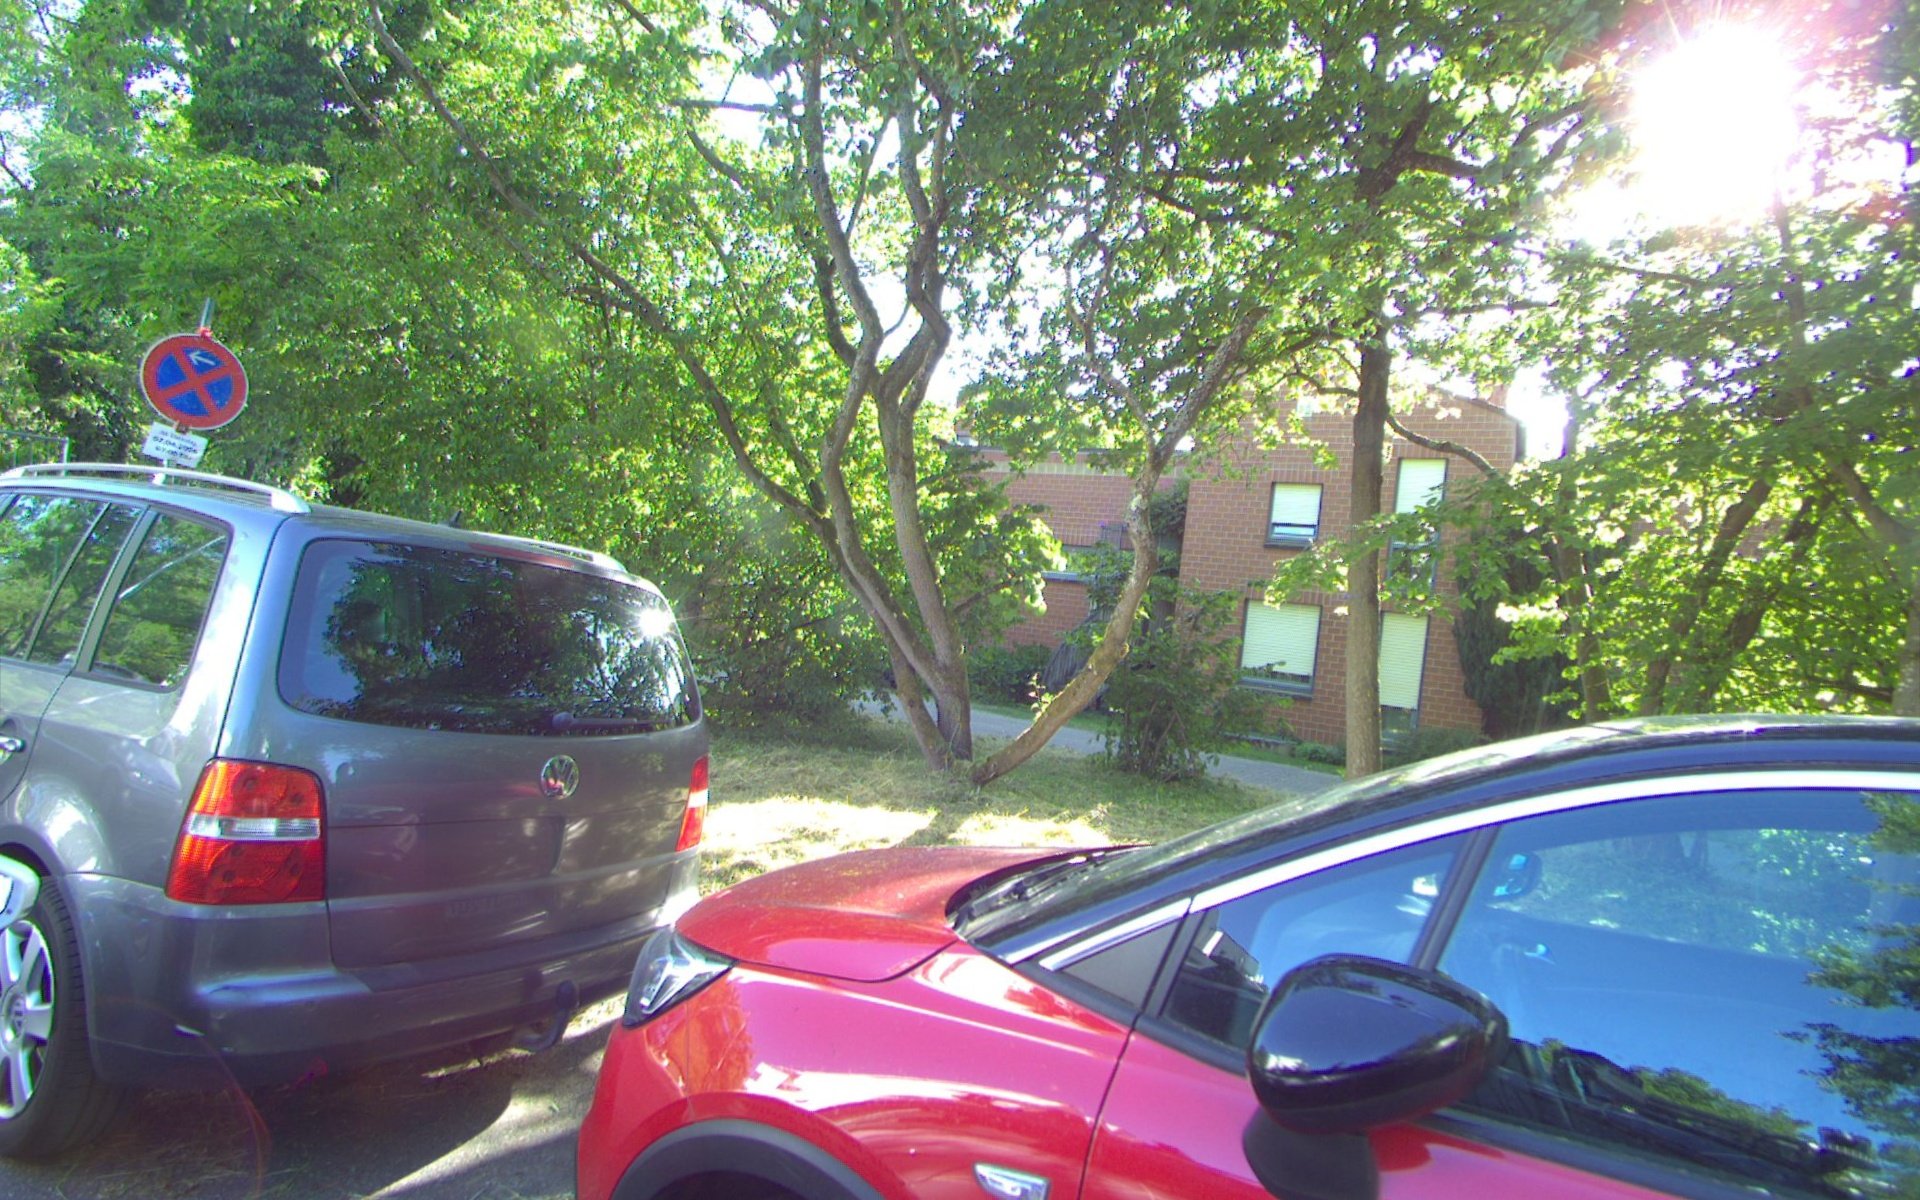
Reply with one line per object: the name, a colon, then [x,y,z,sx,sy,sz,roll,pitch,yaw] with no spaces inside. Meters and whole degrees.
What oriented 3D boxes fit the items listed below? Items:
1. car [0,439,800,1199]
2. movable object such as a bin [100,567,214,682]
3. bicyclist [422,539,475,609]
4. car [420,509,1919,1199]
car: [-2.795,0.421,3.647,4.067,1.640,1.683,7,-2,30]
movable object such as a bin: [-6.698,0.207,8.400,0.550,0.871,0.485,7,-1,28]
bicyclist: [-12.205,-0.618,24.009,0.826,1.517,0.633,7,-1,30]
car: [1.195,0.913,1.487,3.999,1.592,1.682,7,-2,32]
